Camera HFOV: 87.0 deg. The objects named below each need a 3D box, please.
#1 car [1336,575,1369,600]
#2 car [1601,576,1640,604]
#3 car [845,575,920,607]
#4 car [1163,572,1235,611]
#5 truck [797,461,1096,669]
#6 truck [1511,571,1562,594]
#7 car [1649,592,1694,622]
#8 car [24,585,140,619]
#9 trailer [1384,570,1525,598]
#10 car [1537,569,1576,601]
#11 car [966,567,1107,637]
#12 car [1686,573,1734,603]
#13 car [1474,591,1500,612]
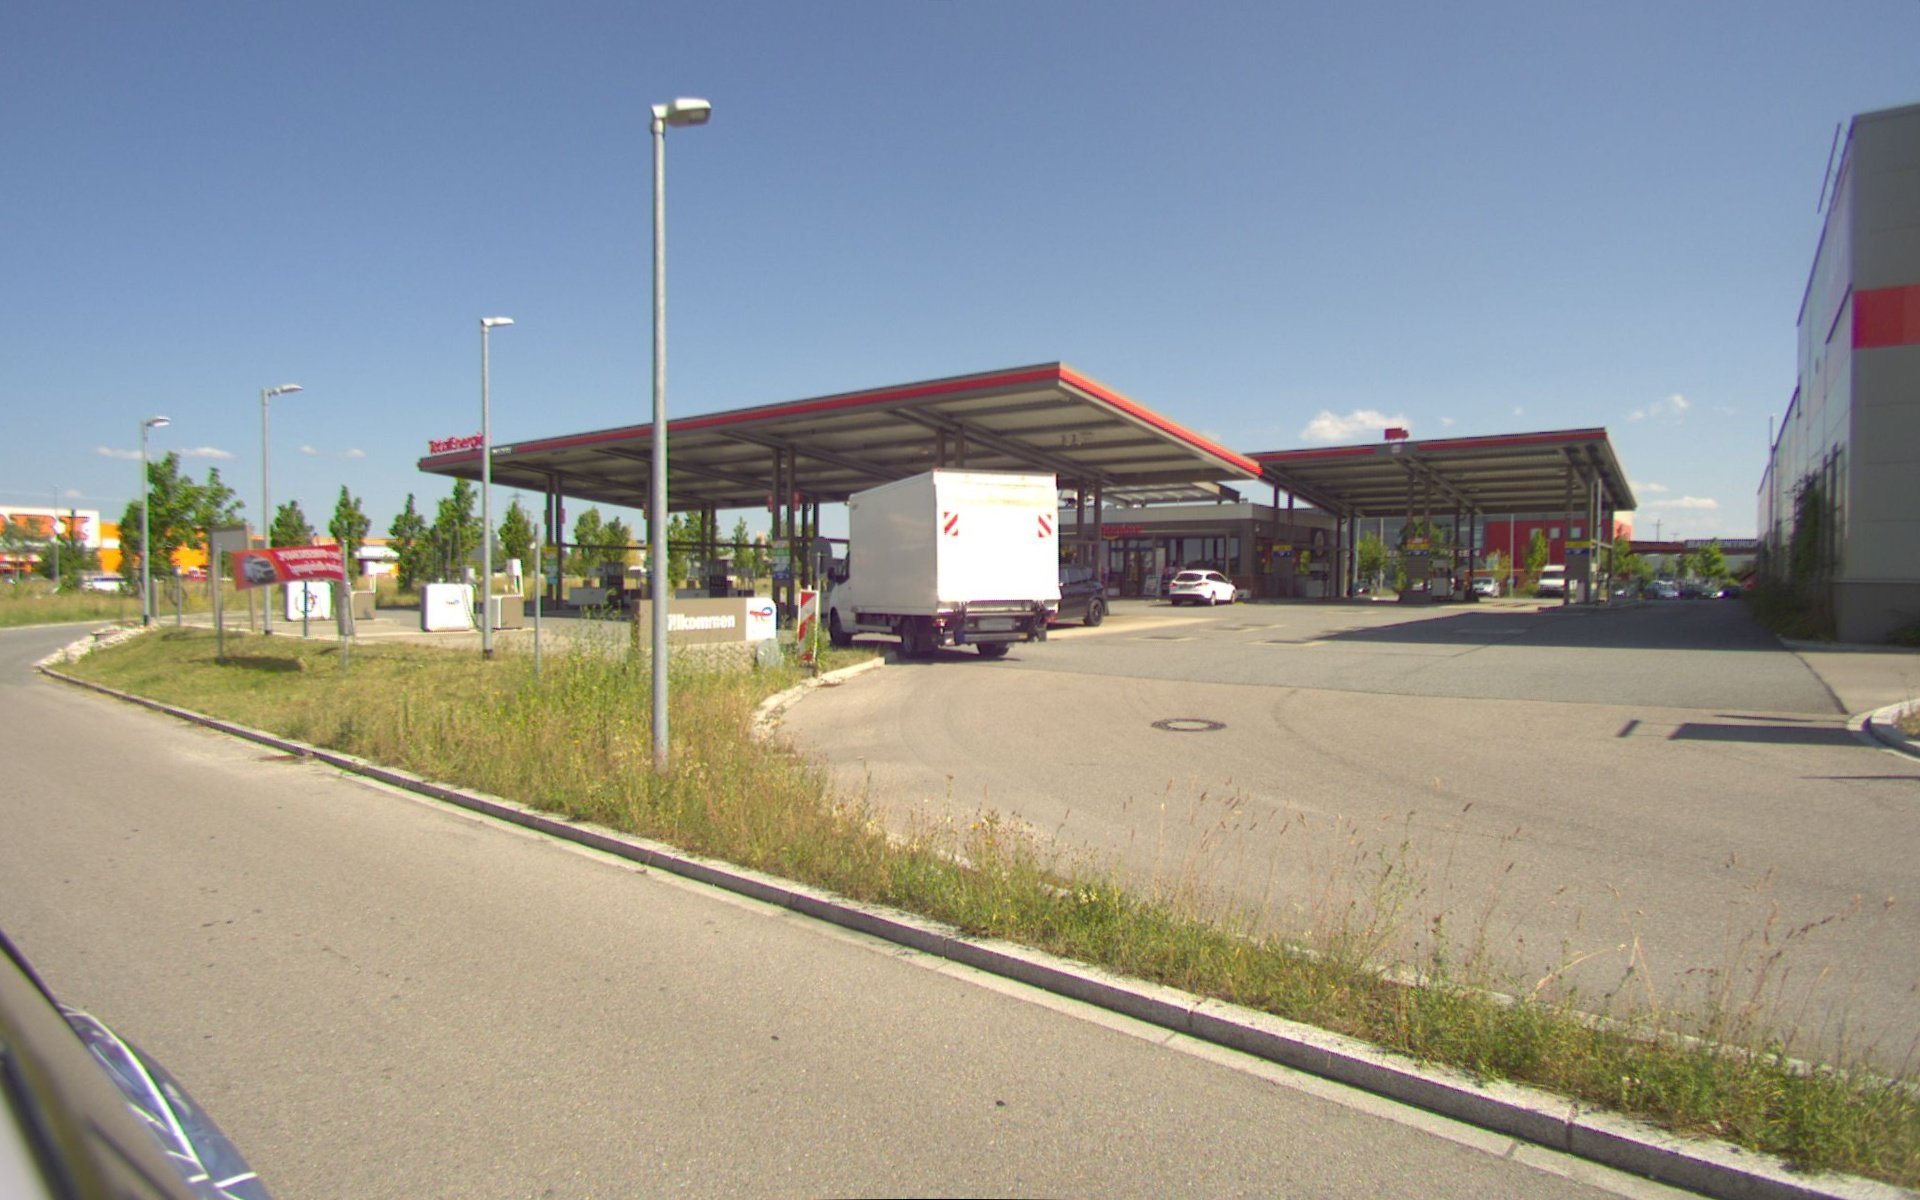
[{"bbox_3d":[36.682,-1.173,94.489,2.376,2.204,5.432,-1,1,27],"label":"car"},{"bbox_3d":[53.599,-0.825,82.204,2.378,2.204,5.426,-1,1,30],"label":"car"},{"bbox_3d":[-4.039,-0.499,53.365,1.793,1.586,3.887,-1,1,37],"label":"car"},{"bbox_3d":[10.144,-0.361,42.710,1.790,1.541,3.957,-1,1,32],"label":"car"},{"bbox_3d":[-0.588,-0.573,19.891,2.597,3.343,6.926,-1,1,-32],"label":"truck"},{"bbox_3d":[58.310,-1.777,102.387,4.242,2.204,2.359,-1,1,36],"label":"truck"},{"bbox_3d":[56.128,0.555,79.887,2.378,2.204,5.426,-1,1,30],"label":"car"},{"bbox_3d":[-55.152,0.122,63.672,1.995,2.029,5.193,-1,1,35],"label":"car"},{"bbox_3d":[52.064,-1.640,106.978,13.155,2.780,2.359,-1,0,36],"label":"trailer"},{"bbox_3d":[43.612,-1.089,74.036,2.378,2.204,5.426,-1,1,30],"label":"car"},{"bbox_3d":[2.195,0.023,27.785,1.792,1.771,4.466,-1,1,36],"label":"car"},{"bbox_3d":[58.239,-0.914,78.686,2.378,2.204,5.426,-1,1,30],"label":"car"},{"bbox_3d":[40.012,0.100,76.791,1.594,1.521,3.563,-1,1,30],"label":"car"}]
